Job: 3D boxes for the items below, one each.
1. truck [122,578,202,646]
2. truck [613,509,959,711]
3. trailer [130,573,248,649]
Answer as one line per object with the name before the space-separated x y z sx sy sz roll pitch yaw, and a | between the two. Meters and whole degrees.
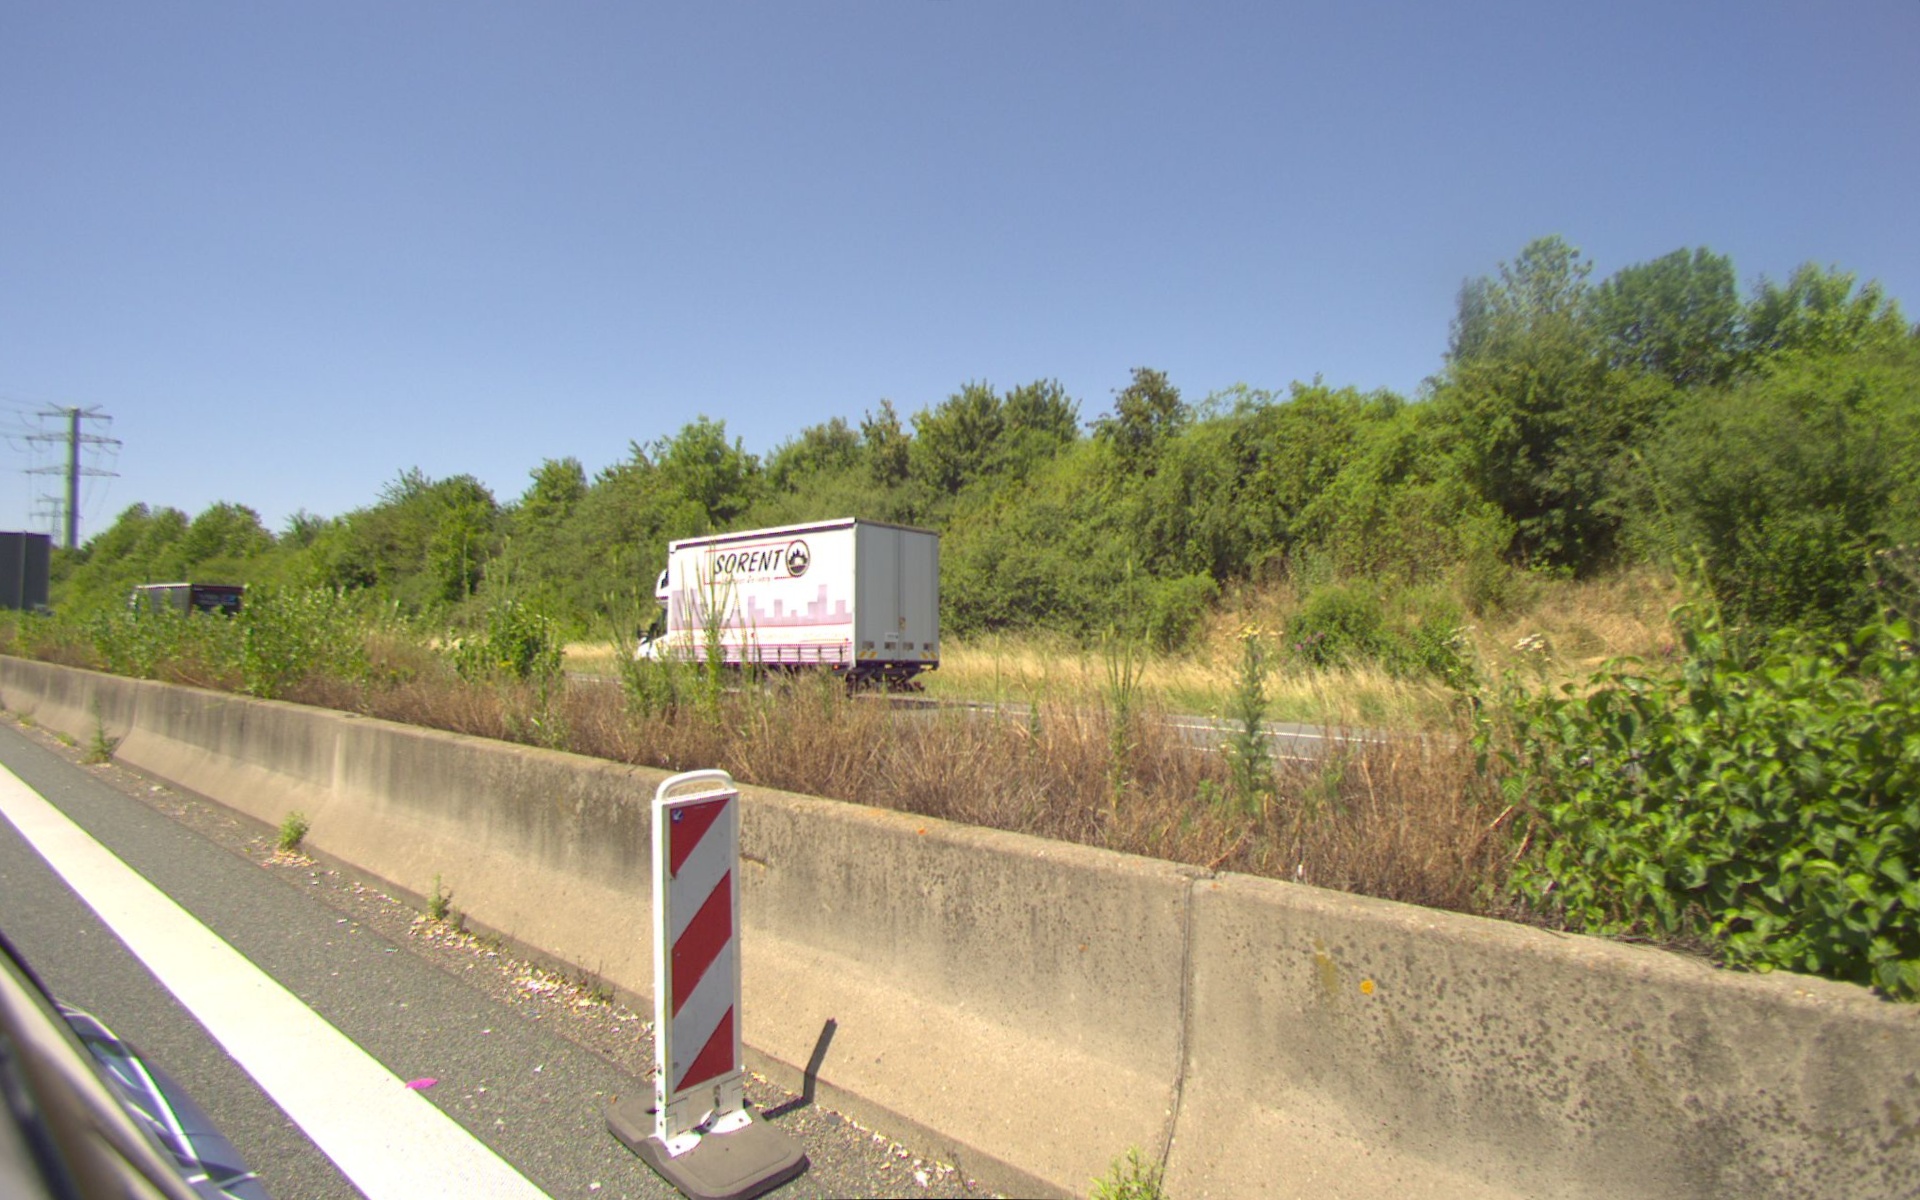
truck | -52.347 0.836 66.330 6.408 4.199 2.722 -1 -5 41
truck | -4.365 0.331 23.565 9.024 3.918 2.734 -1 -5 41
trailer | -47.492 0.759 62.075 14.189 4.199 2.724 -1 -5 41
